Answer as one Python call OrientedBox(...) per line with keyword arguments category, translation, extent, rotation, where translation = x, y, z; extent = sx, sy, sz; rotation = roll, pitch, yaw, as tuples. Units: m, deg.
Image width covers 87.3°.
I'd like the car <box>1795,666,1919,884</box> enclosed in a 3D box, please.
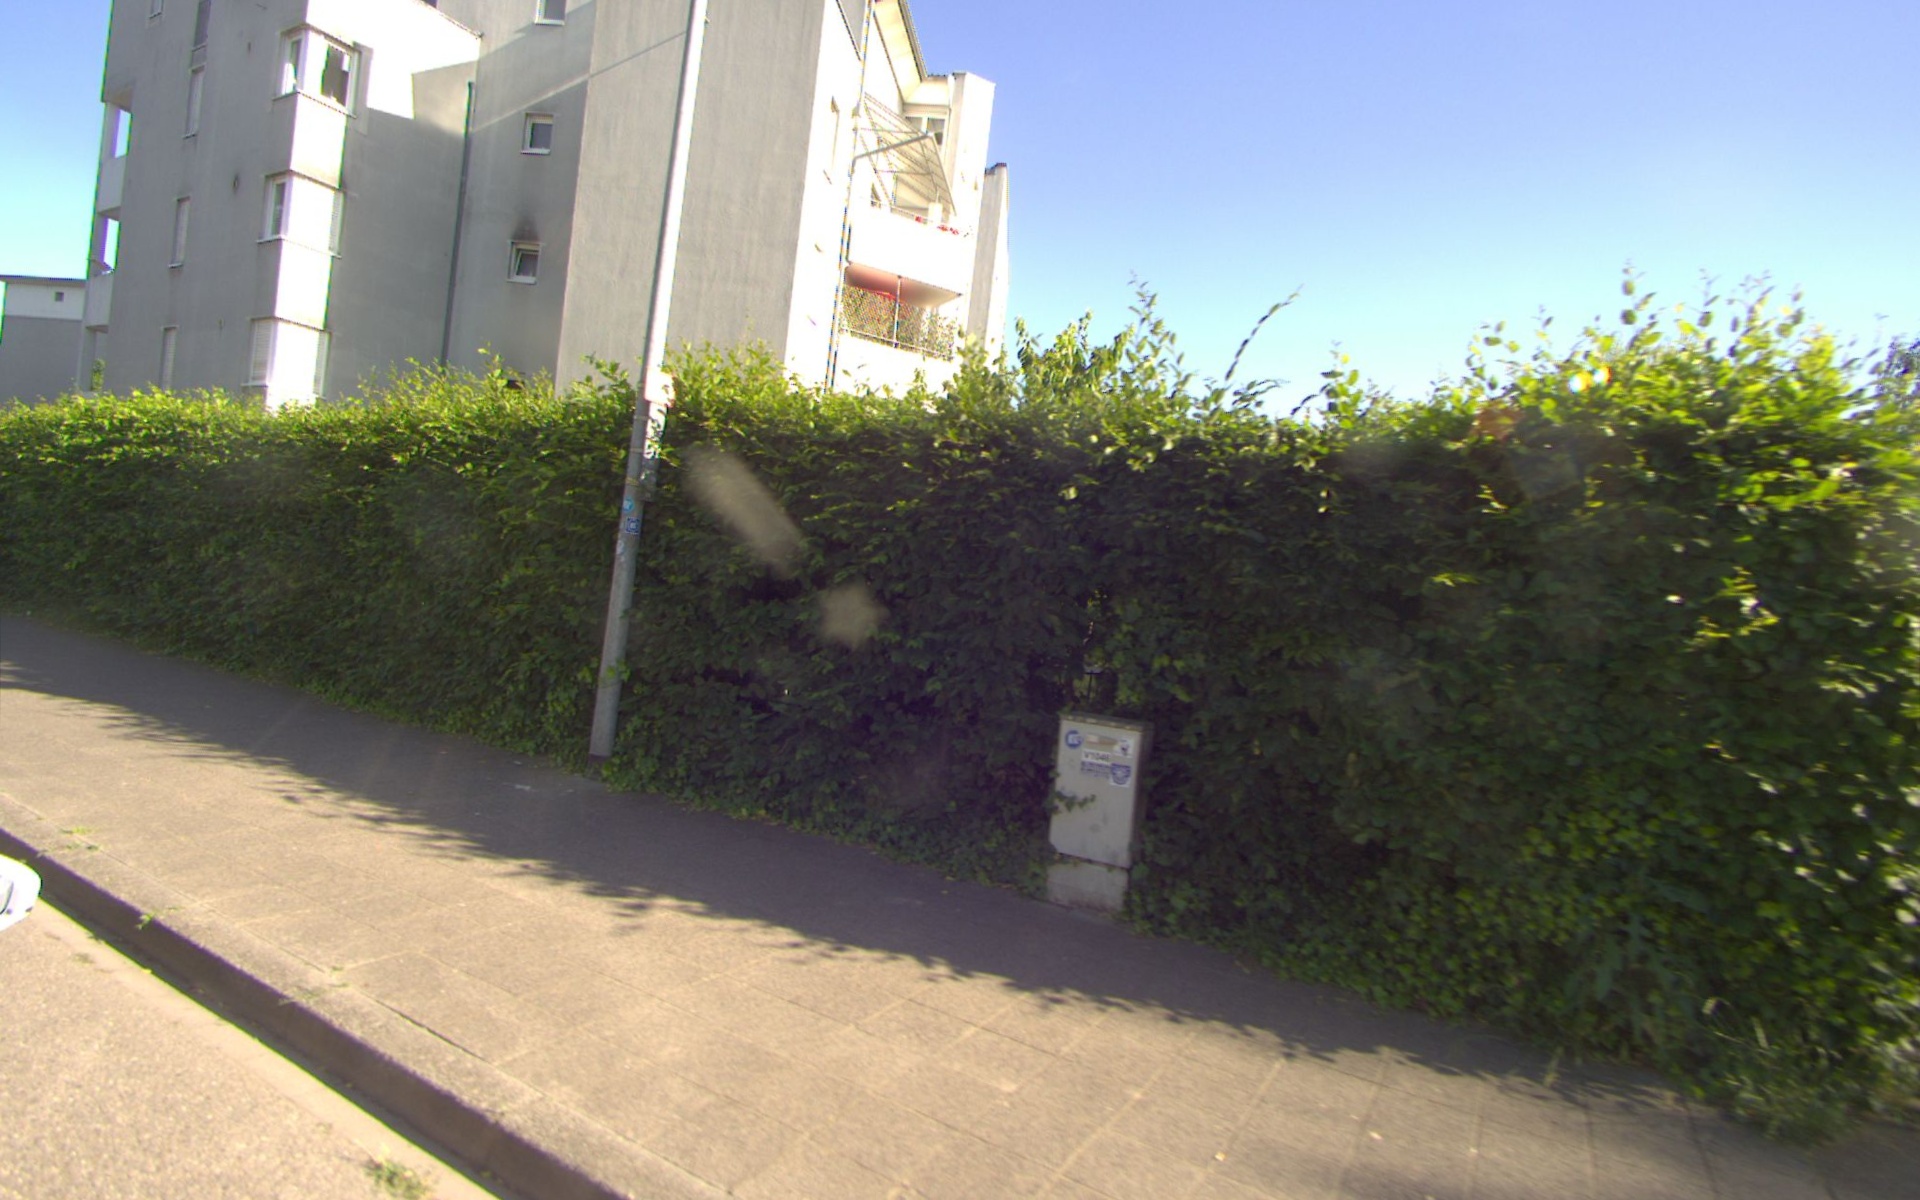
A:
OrientedBox(category="car", translation=(10.290, 1.701, 8.220), extent=(4.912, 1.676, 1.784), rotation=(6, 1, 13))
